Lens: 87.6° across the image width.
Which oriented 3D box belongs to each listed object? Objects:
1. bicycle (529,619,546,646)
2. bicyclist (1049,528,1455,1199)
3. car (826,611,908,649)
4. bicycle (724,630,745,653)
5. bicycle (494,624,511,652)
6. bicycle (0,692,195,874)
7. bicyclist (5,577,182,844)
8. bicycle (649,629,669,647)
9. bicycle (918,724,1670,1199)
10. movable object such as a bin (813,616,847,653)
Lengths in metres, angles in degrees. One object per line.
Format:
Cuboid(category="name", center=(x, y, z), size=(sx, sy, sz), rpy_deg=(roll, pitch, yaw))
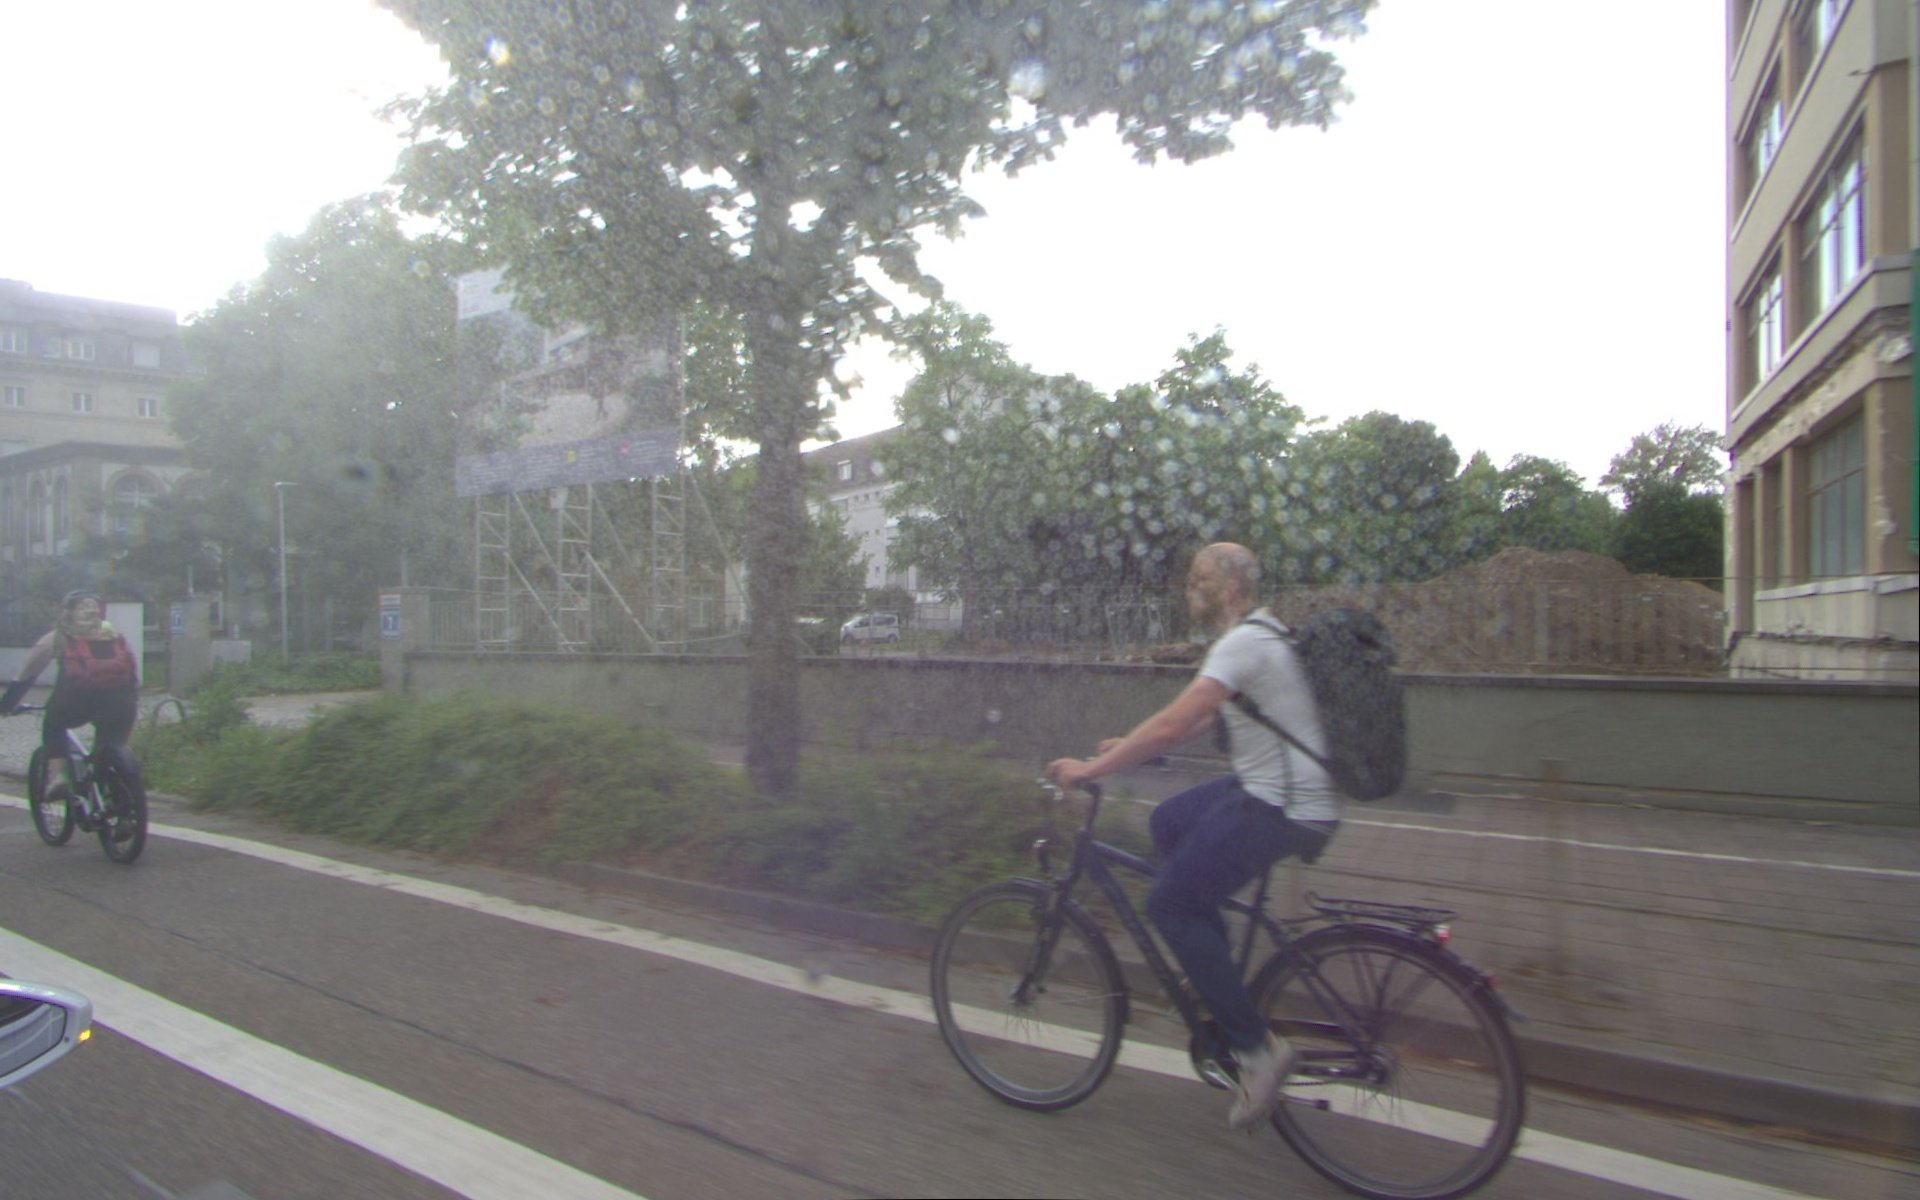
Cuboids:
Cuboid(category="bicycle", center=(-18.463, 1.405, 43.725), size=(0.609, 1.134, 2.213), rpy_deg=(0, -1, -25))
Cuboid(category="bicyclist", center=(0.833, 0.645, 2.823), size=(0.971, 1.590, 0.661), rpy_deg=(0, -1, 30))
Cuboid(category="car", center=(-5.213, 1.686, 56.244), size=(4.299, 2.039, 1.841), rpy_deg=(1, -2, -37))
Cuboid(category="bicycle", center=(-10.952, 2.020, 48.657), size=(0.391, 1.079, 1.817), rpy_deg=(0, -1, -34))
Cuboid(category="bicycle", center=(-19.714, 1.616, 43.135), size=(0.609, 1.134, 2.213), rpy_deg=(0, -1, -25))
Cuboid(category="bicycle", center=(-5.878, 1.159, 6.729), size=(2.028, 0.992, 0.489), rpy_deg=(-1, -2, 32))
Cuboid(category="bicyclist", center=(-5.747, 0.686, 6.645), size=(0.906, 1.631, 0.656), rpy_deg=(0, 0, 32))
Cuboid(category="bicycle", center=(-14.023, 1.768, 46.655), size=(0.609, 0.824, 1.937), rpy_deg=(0, -1, -25))
Cuboid(category="bicycle", center=(0.837, 0.987, 2.812), size=(1.839, 1.131, 0.663), rpy_deg=(0, -2, 32))
Cuboid(category="movable object such as a bin", center=(-5.415, 1.434, 41.662), size=(1.039, 1.469, 1.349), rpy_deg=(0, 1, -24))
